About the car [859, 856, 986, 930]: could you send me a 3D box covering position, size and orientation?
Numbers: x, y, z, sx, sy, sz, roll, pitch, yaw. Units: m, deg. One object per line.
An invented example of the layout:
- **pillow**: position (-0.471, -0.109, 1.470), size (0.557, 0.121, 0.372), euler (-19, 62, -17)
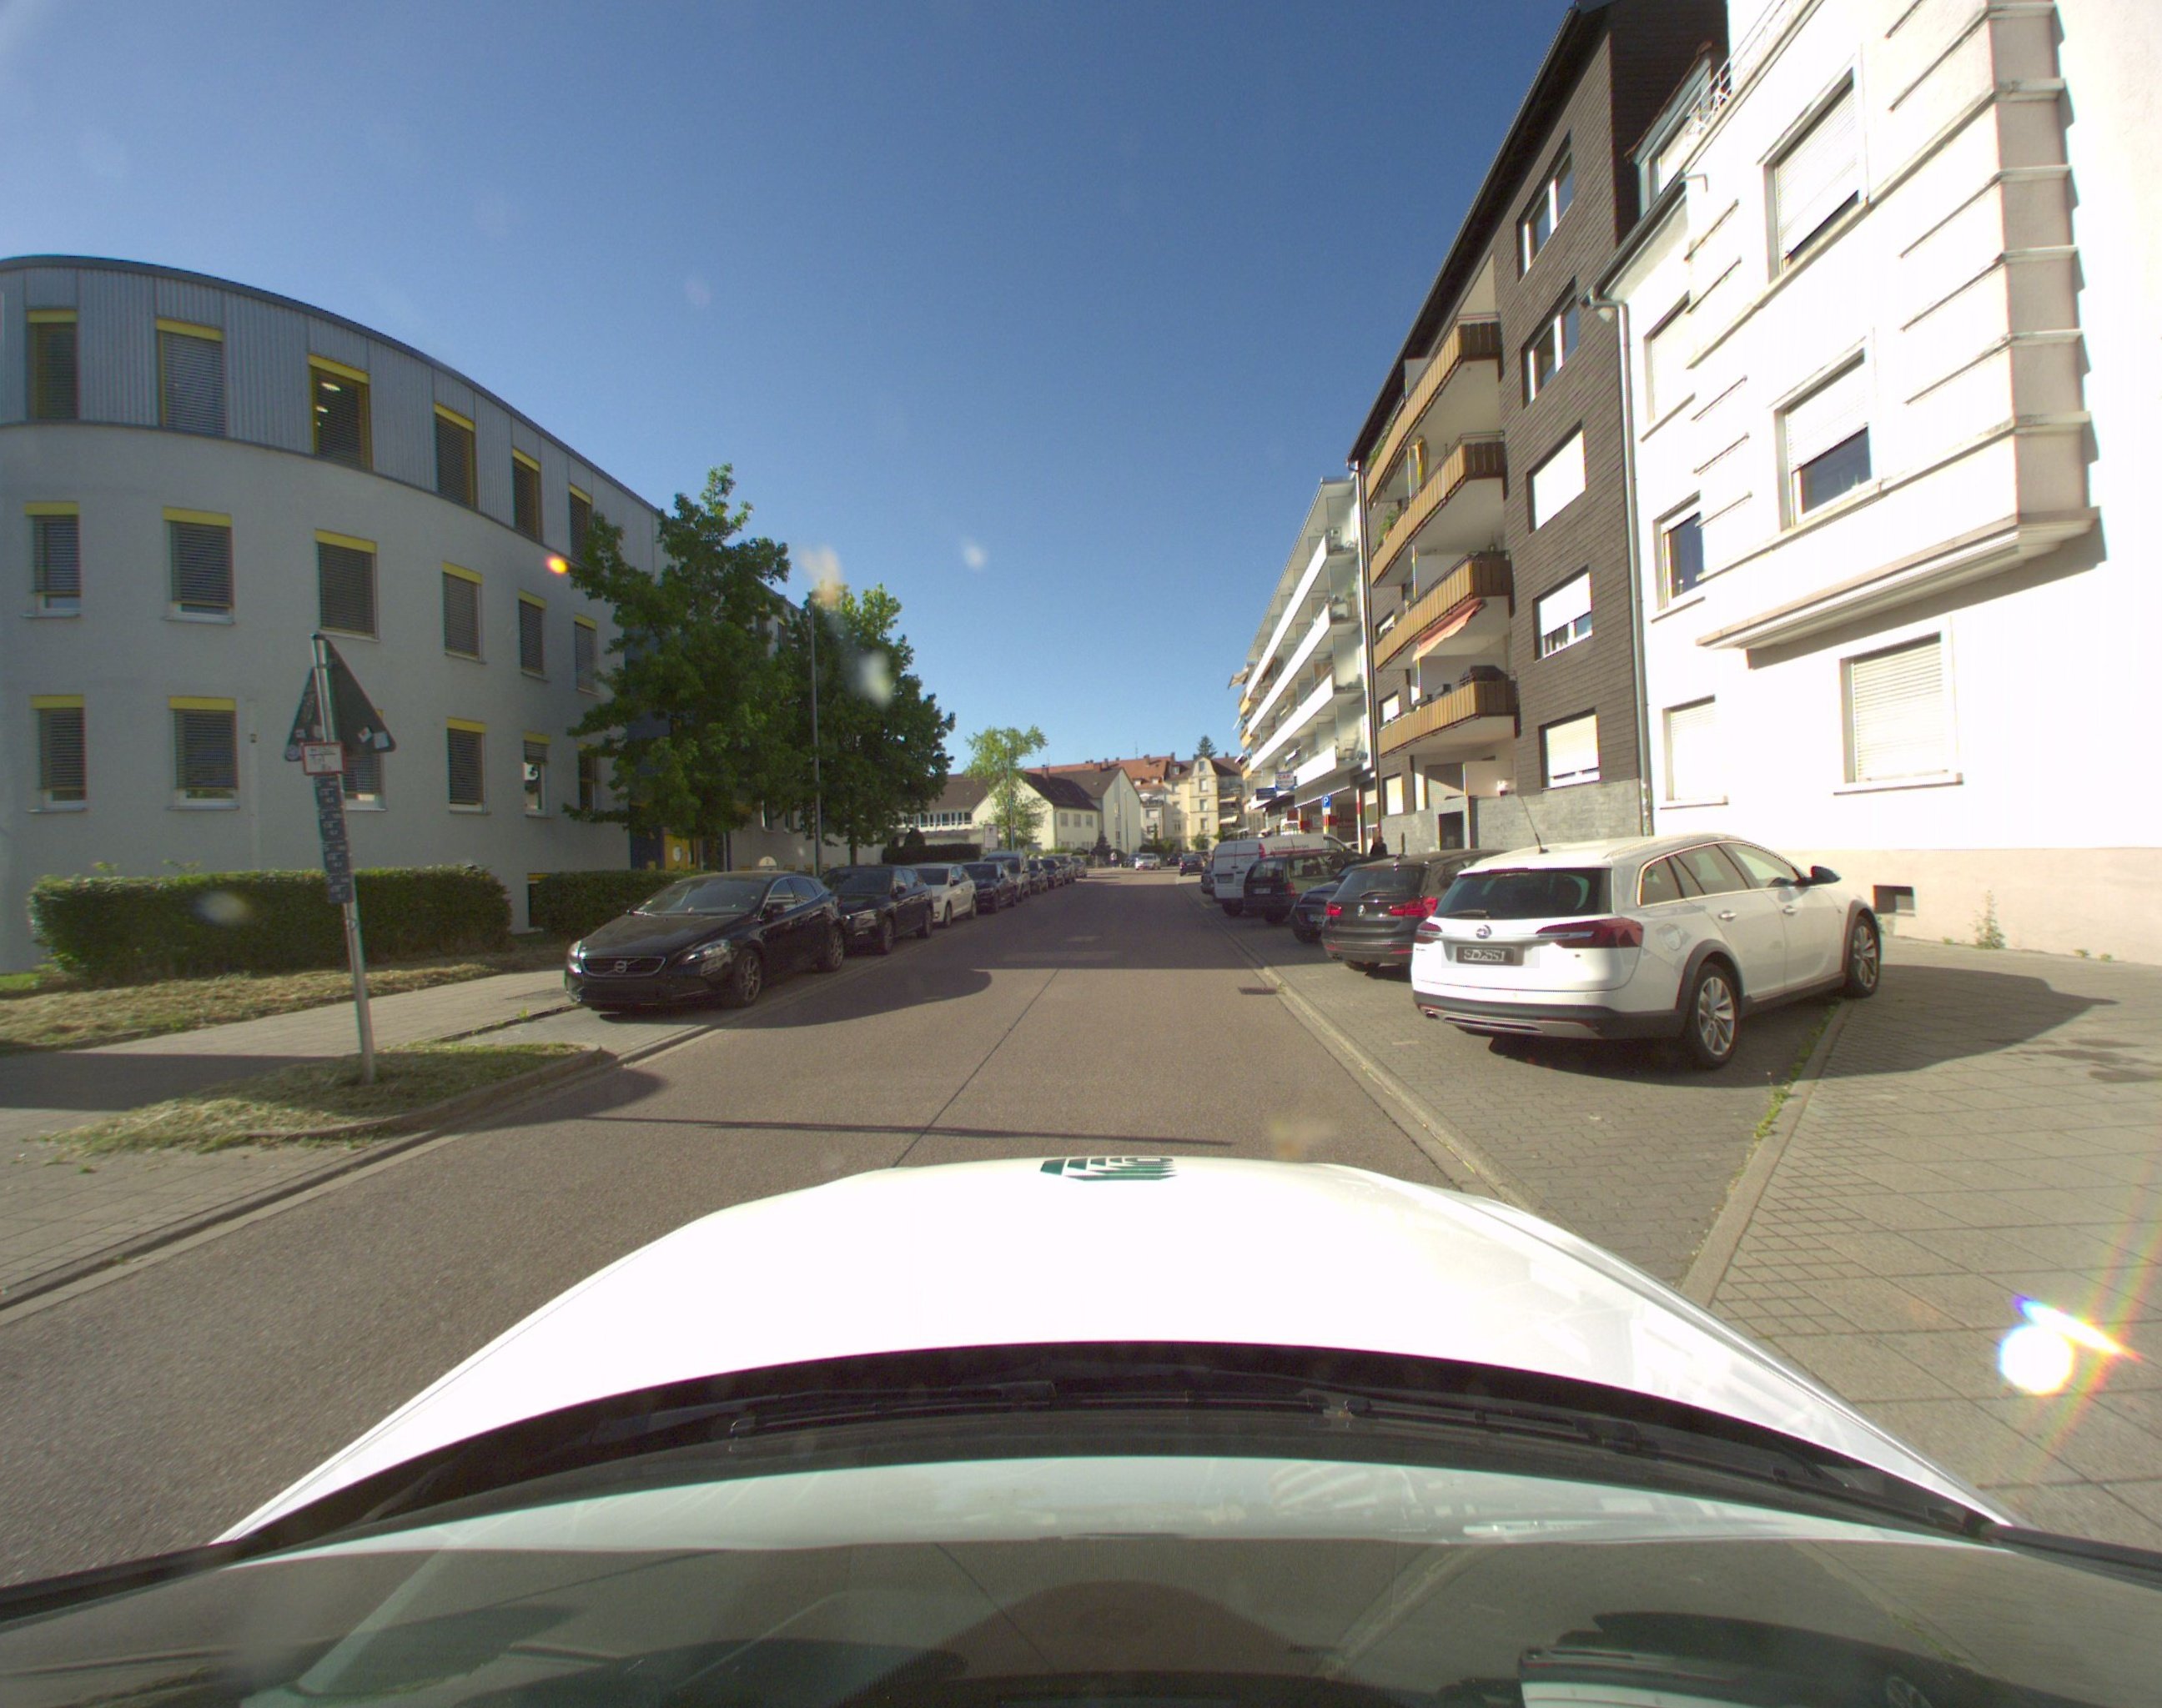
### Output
- **car**: position (-3.679, 0.874, 19.818), size (1.900, 1.530, 4.628), euler (-2, -1, 3)

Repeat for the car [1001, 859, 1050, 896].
- **car**: position (-2.317, 0.936, 34.655), size (1.591, 1.440, 4.002), euler (-1, 0, 2)

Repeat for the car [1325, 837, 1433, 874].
- **car**: position (14.082, 0.087, 38.657), size (4.371, 1.512, 1.981), euler (-3, -1, 4)

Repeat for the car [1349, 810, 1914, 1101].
- **car**: position (4.713, 0.533, 6.754), size (4.890, 1.463, 1.954), euler (-5, 1, -31)

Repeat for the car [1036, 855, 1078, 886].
- **car**: position (-1.300, 0.872, 45.999), size (1.711, 1.586, 4.429), euler (-2, 0, 6)

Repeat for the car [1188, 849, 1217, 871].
- **car**: position (10.121, 0.495, 67.470), size (1.804, 1.653, 4.578), euler (-2, -1, 15)

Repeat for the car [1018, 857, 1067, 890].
- **car**: position (-1.842, 0.914, 40.069), size (1.717, 1.465, 4.447), euler (-2, 0, 6)

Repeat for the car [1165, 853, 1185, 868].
- **car**: position (10.304, 0.693, 89.497), size (1.733, 1.512, 3.732), euler (-3, 0, 2)

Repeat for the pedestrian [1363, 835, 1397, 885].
- **pedestrian**: position (9.849, 0.205, 26.882), size (0.827, 1.593, 0.891), euler (-3, -1, 9)

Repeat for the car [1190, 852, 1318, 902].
- **car**: position (6.044, 0.759, 28.226), size (4.670, 1.466, 1.671), euler (-2, -2, -38)

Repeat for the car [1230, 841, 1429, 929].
- **car**: position (5.350, 0.636, 17.474), size (4.007, 1.489, 1.602), euler (-4, -2, -28)

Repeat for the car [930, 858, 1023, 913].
- **car**: position (-3.051, 0.888, 24.766), size (1.724, 1.439, 4.619), euler (-2, 0, 6)

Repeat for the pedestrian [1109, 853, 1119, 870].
- **pedestrian**: position (3.356, 0.769, 82.003), size (0.676, 1.704, 0.829), euler (-3, -3, 26)

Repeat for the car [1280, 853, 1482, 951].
- **car**: position (5.096, 0.733, 13.708), size (3.412, 1.388, 1.523), euler (-1, -1, -36)

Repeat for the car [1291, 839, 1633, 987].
- **car**: position (4.901, 0.643, 10.370), size (4.184, 1.497, 1.805), euler (-2, -2, -30)

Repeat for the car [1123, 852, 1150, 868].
- **car**: position (5.789, 0.605, 84.581), size (1.783, 1.473, 4.351), euler (-1, 0, 19)

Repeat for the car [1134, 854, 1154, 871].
- **car**: position (5.867, 0.794, 75.267), size (1.717, 1.485, 4.113), euler (-2, 0, 6)

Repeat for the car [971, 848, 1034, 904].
- **car**: position (-2.801, 0.746, 29.894), size (1.681, 1.838, 4.344), euler (-2, 0, 2)

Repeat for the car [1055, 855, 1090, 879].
- **car**: position (-0.543, 0.856, 55.765), size (1.985, 1.534, 4.923), euler (-2, 0, 4)

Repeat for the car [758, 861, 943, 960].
- **car**: position (-3.983, 0.916, 14.920), size (1.900, 1.479, 4.383), euler (-2, -1, 3)

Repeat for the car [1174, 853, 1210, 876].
- **car**: position (7.723, 0.712, 56.223), size (1.957, 1.450, 5.020), euler (-2, -1, 12)

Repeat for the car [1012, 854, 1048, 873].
- **car**: position (-4.610, 0.864, 73.699), size (1.783, 1.556, 3.207), euler (-3, -3, 28)

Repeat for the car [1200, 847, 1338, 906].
- **car**: position (5.728, 0.649, 24.553), size (4.350, 1.512, 1.736), euler (-2, -1, -41)

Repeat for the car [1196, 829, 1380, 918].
- **car**: position (5.374, 0.470, 20.918), size (4.551, 1.898, 2.027), euler (-4, -2, -37)

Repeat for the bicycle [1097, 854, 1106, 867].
- **bicycle**: position (2.135, 0.679, 85.169), size (0.453, 1.250, 1.936), euler (-2, -3, 17)

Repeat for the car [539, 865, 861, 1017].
- **car**: position (-4.318, 0.889, 10.101), size (1.781, 1.410, 4.227), euler (-1, 0, 3)
